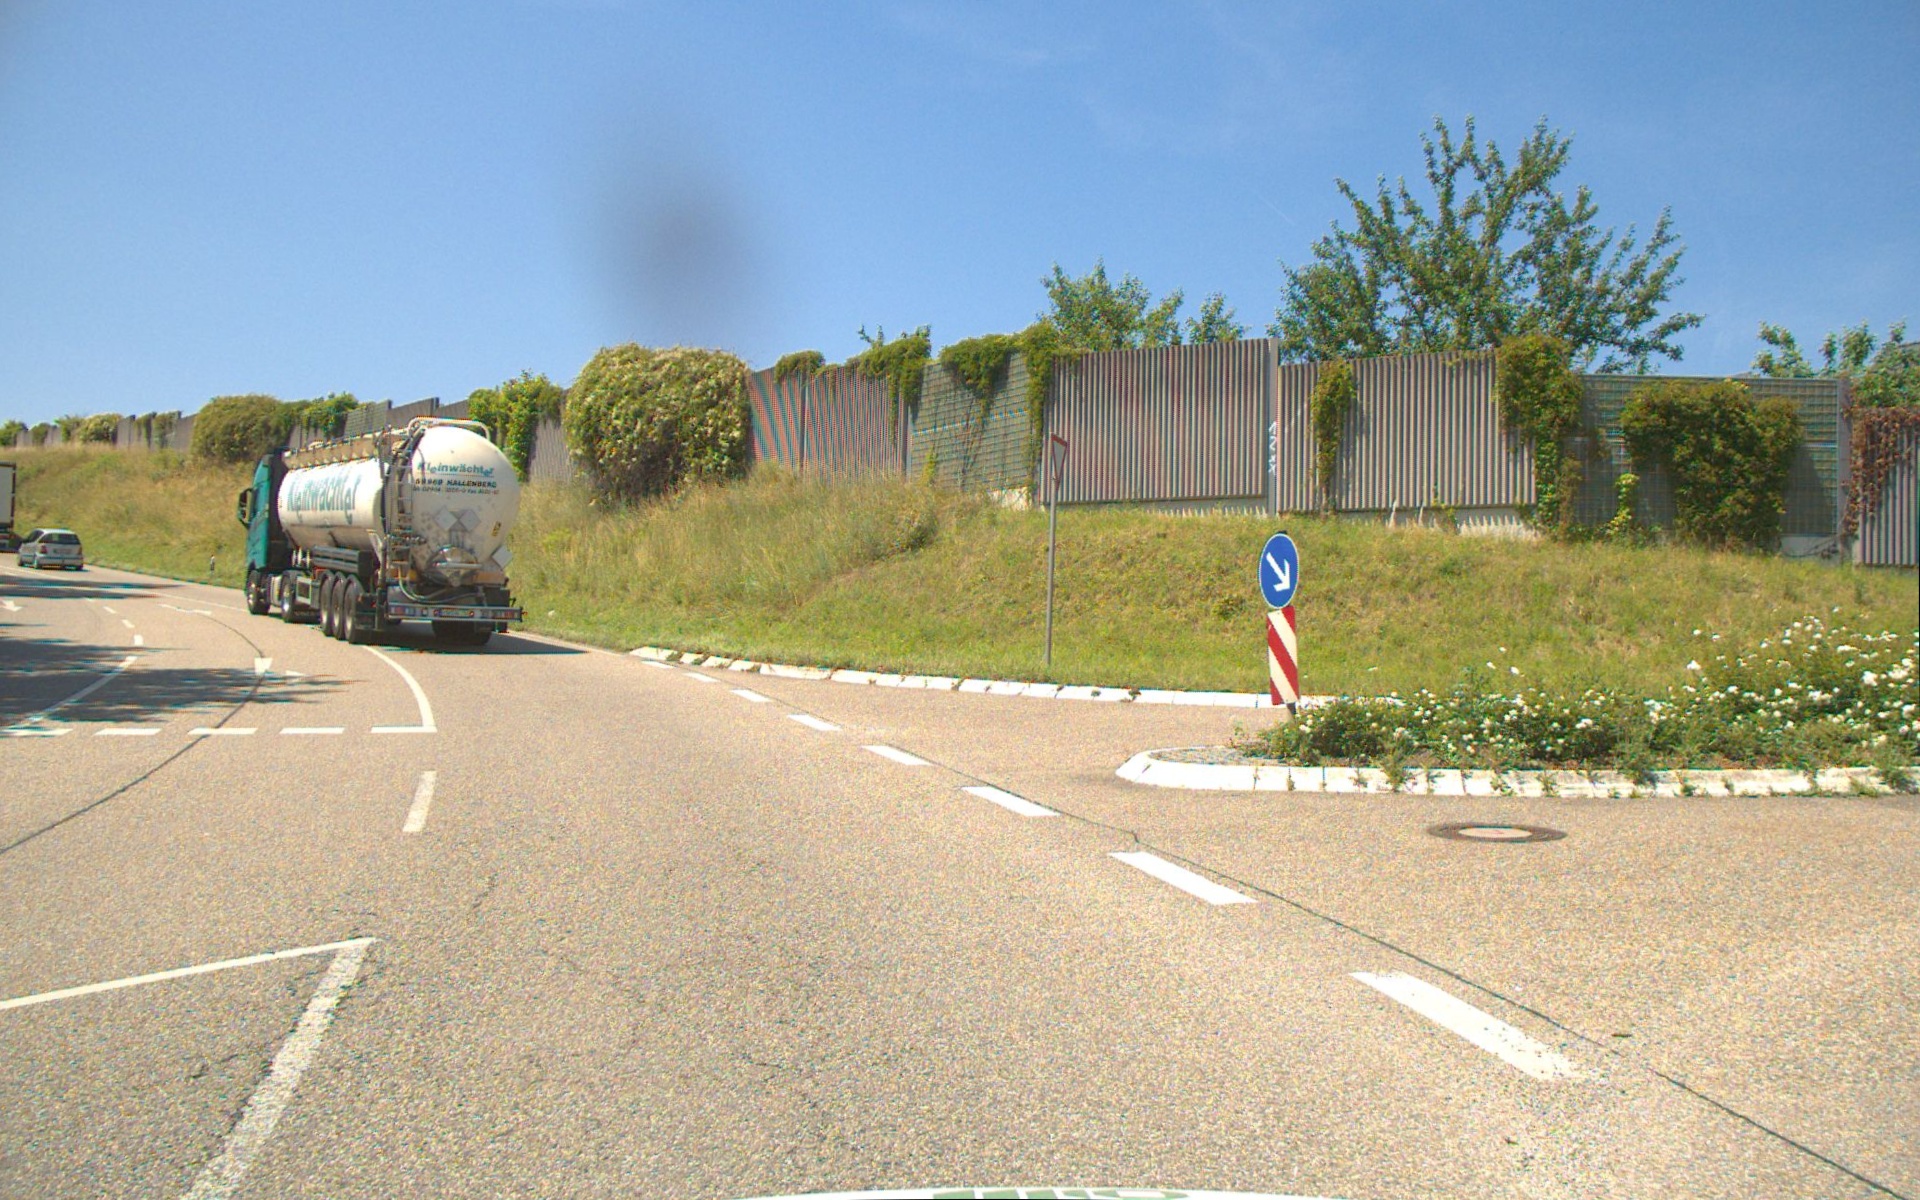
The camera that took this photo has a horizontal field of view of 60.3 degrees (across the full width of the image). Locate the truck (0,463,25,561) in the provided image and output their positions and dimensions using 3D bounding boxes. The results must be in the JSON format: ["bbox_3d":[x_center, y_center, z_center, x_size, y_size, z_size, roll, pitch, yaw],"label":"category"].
[{"bbox_3d":[-48.070,-4.479,79.706,3.169,4.383,11.641,6,0,-39],"label":"truck"}]

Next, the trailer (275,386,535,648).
[{"bbox_3d":[-11.380,-1.556,32.880,2.633,4.261,11.788,1,1,-29],"label":"trailer"}]

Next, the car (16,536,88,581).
[{"bbox_3d":[-35.539,-1.643,64.678,1.639,1.535,3.584,5,-1,-42],"label":"car"}]

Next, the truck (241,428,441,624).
[{"bbox_3d":[-14.301,-1.654,37.821,2.702,3.998,7.181,2,1,-33],"label":"truck"}]
